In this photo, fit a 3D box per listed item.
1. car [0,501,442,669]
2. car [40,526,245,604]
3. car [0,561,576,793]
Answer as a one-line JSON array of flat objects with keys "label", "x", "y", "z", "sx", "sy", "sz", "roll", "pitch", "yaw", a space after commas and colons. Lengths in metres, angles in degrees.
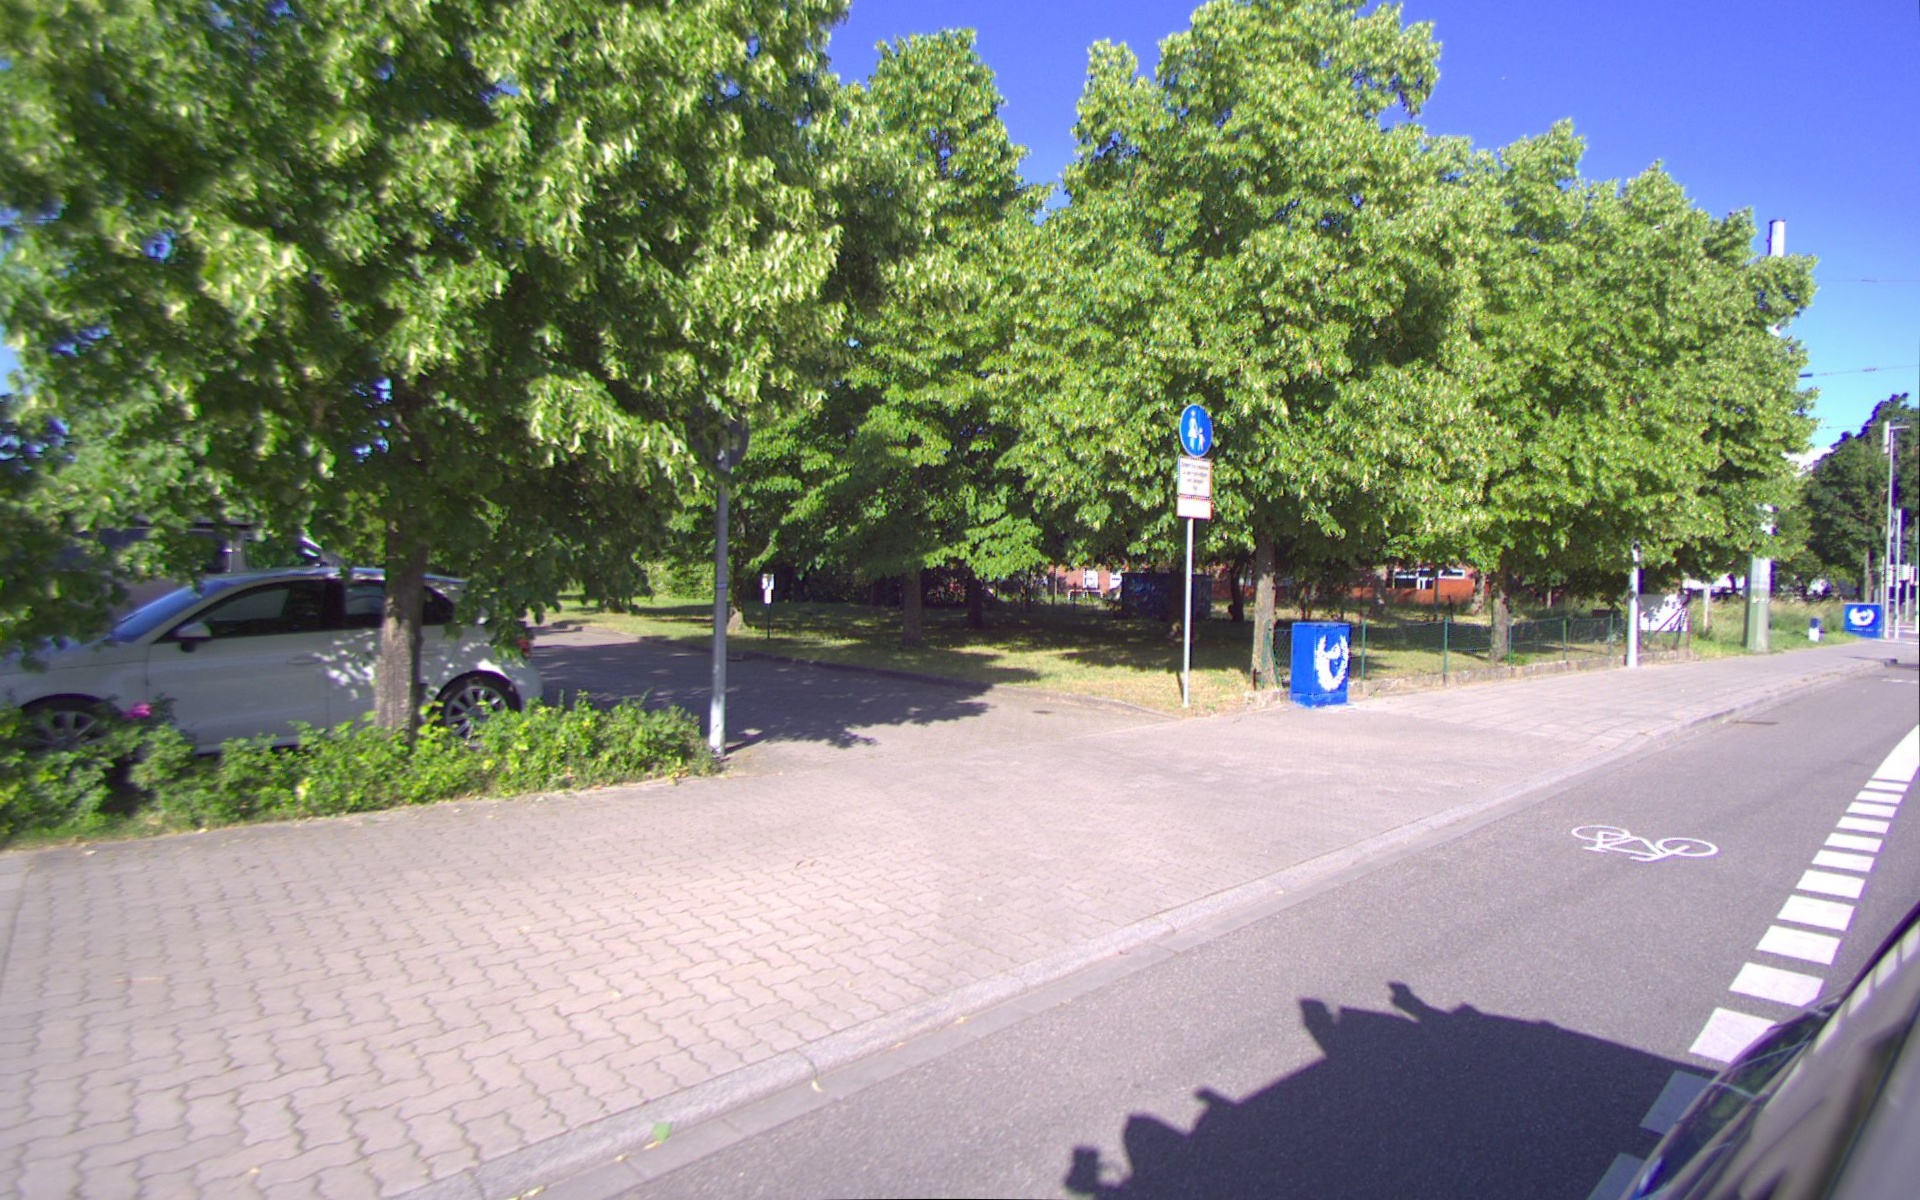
[{"label": "car", "x": -10.039, "y": -0.203, "z": 13.946, "sx": 4.869, "sy": 1.962, "sz": 1.878, "roll": 0, "pitch": 2, "yaw": -39}, {"label": "car", "x": -29.192, "y": -1.194, "z": 36.330, "sx": 5.585, "sy": 2.565, "sz": 2.194, "roll": -1, "pitch": 0, "yaw": -42}, {"label": "car", "x": -5.160, "y": 0.440, "z": 7.631, "sx": 3.985, "sy": 1.378, "sz": 1.464, "roll": 0, "pitch": 2, "yaw": -43}]
